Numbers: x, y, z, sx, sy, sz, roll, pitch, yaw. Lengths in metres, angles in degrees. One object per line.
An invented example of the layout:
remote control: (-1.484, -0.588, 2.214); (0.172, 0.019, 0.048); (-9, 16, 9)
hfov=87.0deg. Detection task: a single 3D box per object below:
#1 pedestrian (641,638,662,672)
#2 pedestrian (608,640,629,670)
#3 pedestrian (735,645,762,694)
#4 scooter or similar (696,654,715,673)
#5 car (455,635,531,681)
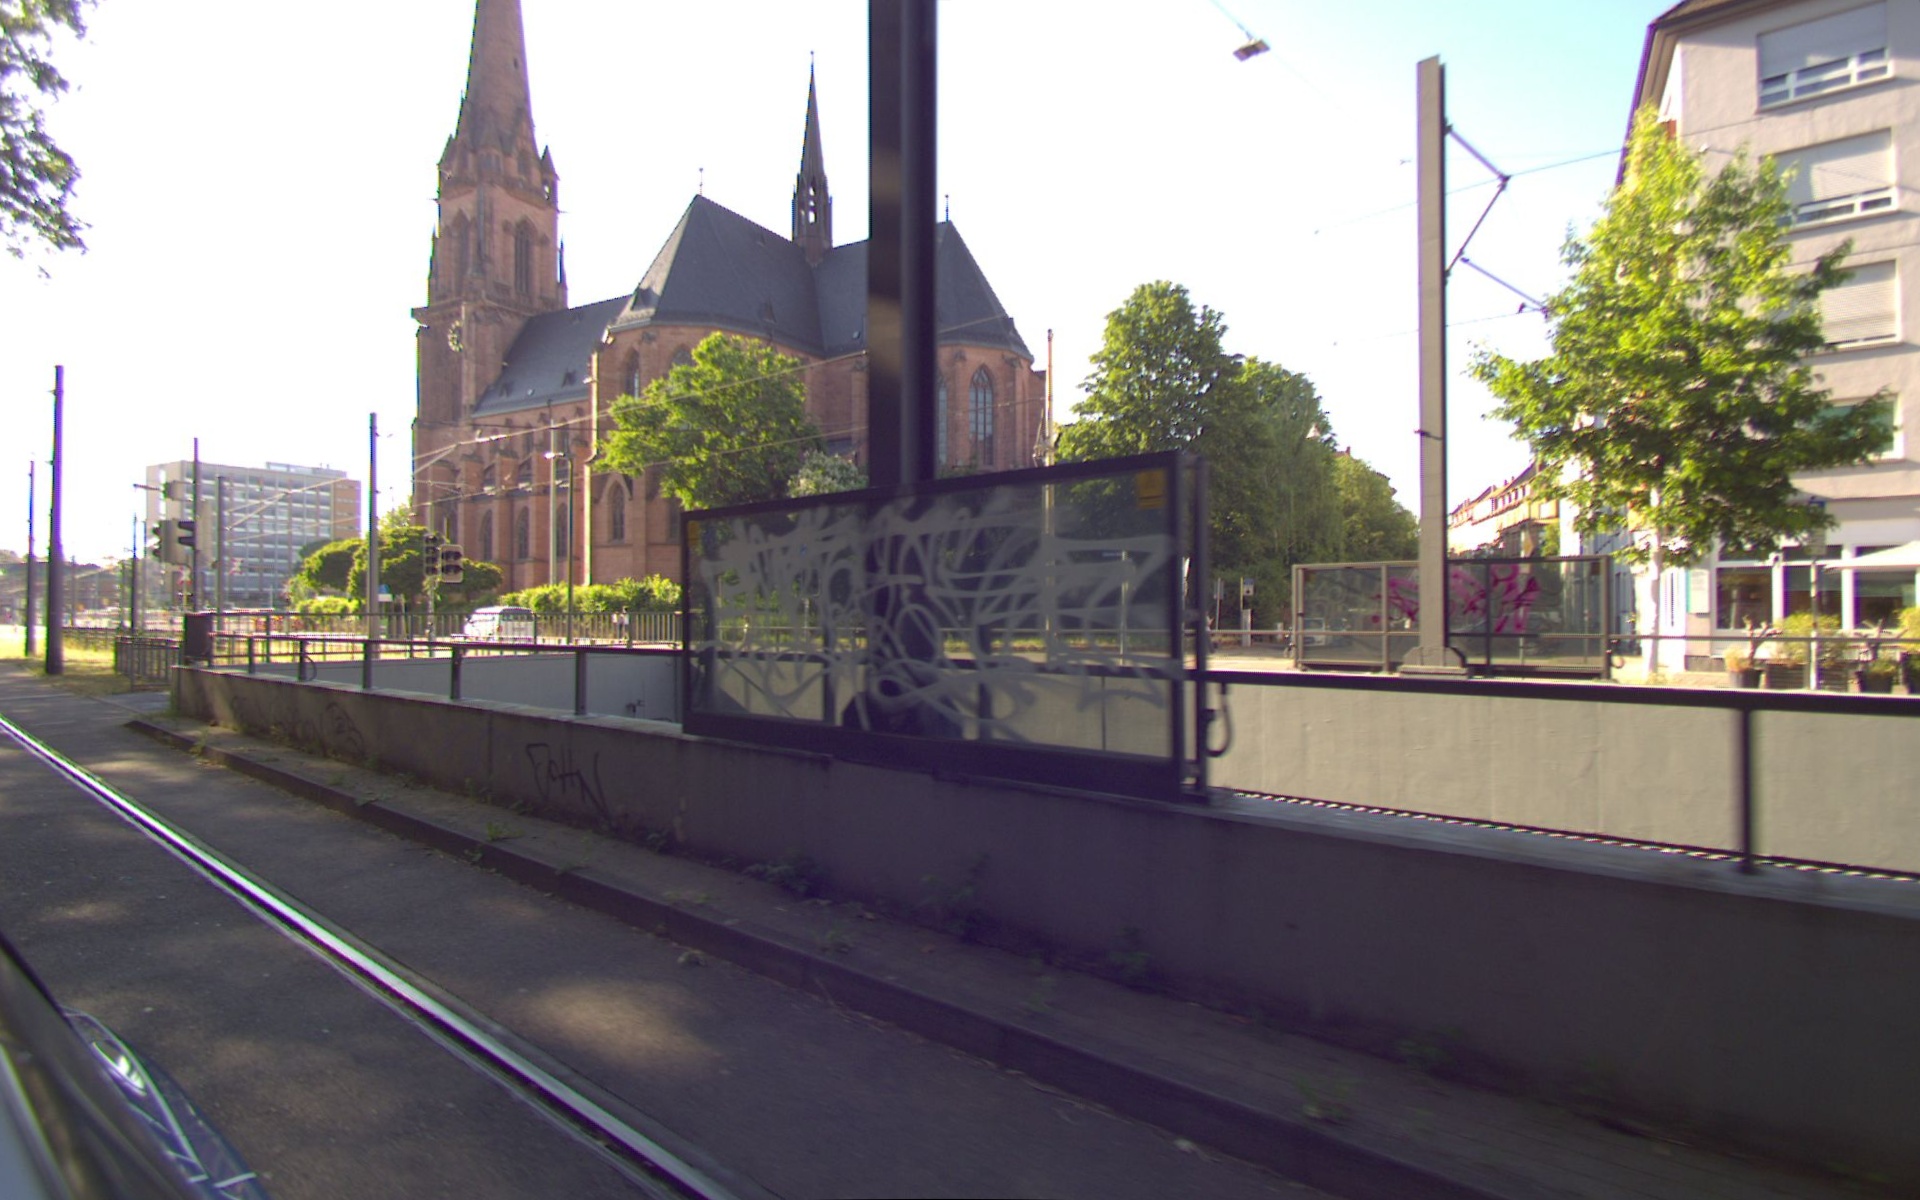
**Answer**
pedestrian: (-16.601, 2.948, 54.448); (0.945, 1.798, 0.580); (-2, 0, 39)
pedestrian: (-17.871, 2.862, 52.962); (0.945, 1.500, 0.580); (-2, 0, 39)
pedestrian: (-7.566, 2.477, 36.193); (0.752, 1.686, 0.490); (-2, 0, 27)
scooter or similar: (-13.135, 3.270, 52.243); (0.914, 0.943, 0.306); (-2, 0, 21)
car: (-21.972, 2.690, 47.543); (1.968, 2.029, 5.021); (4, -4, -39)
